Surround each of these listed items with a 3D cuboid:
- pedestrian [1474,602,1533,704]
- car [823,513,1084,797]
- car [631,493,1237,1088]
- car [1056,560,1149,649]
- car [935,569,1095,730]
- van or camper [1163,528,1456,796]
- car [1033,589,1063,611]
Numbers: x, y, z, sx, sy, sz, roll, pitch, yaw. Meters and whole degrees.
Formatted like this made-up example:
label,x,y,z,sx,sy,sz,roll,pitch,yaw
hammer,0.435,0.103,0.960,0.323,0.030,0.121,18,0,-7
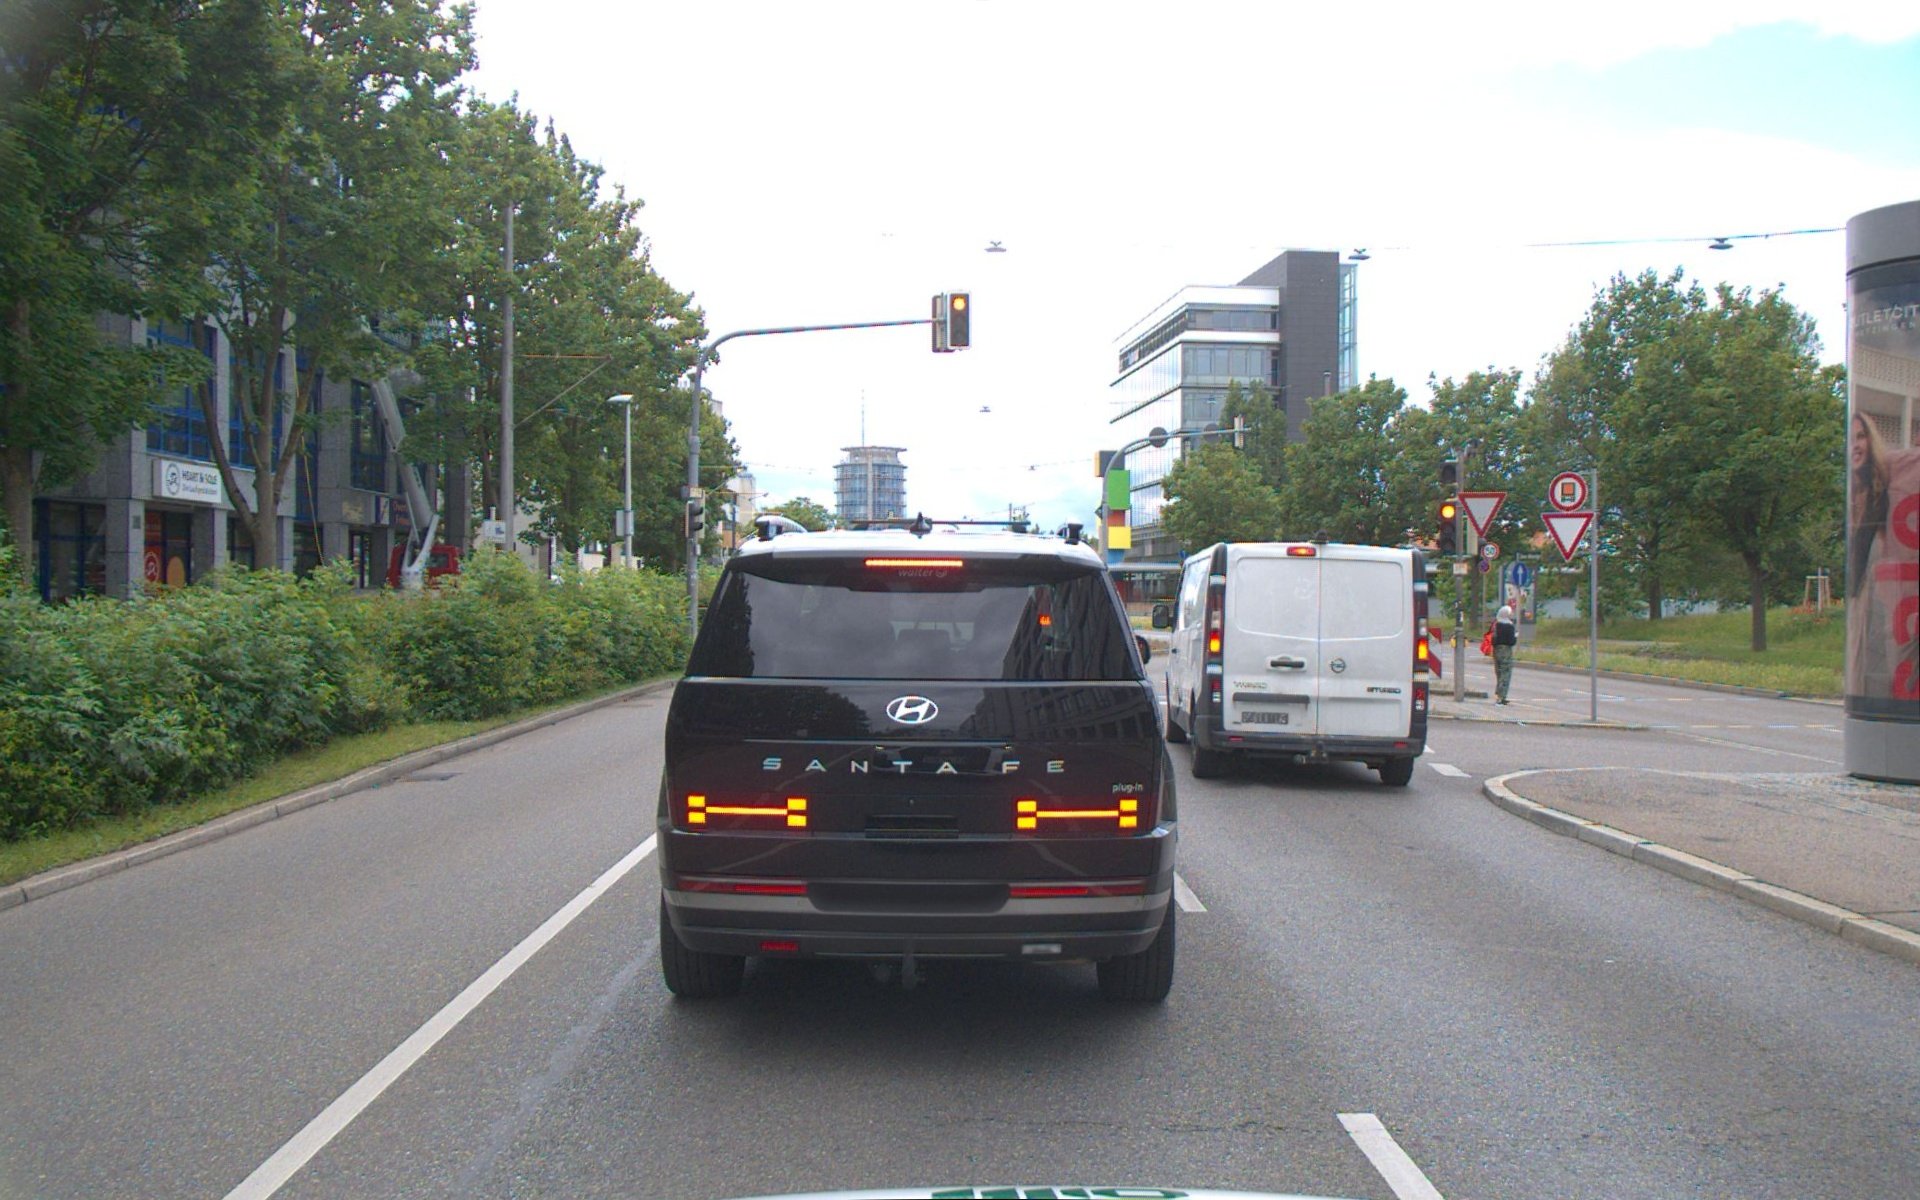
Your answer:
label,x,y,z,sx,sy,sz,roll,pitch,yaw
pedestrian,8.831,0.858,26.885,0.733,1.612,0.565,2,0,-41
car,-0.073,0.384,13.807,1.876,2.038,3.879,0,0,-1
car,-0.099,0.564,6.938,1.831,1.791,3.879,0,0,-1
car,3.450,0.117,40.617,1.952,2.049,4.000,1,0,0
car,0.744,0.551,20.377,1.738,1.747,4.340,1,0,4
van or camper,2.991,0.468,15.149,1.952,2.049,4.655,1,0,4
car,7.013,-0.006,132.181,1.954,1.713,3.997,1,0,-3
